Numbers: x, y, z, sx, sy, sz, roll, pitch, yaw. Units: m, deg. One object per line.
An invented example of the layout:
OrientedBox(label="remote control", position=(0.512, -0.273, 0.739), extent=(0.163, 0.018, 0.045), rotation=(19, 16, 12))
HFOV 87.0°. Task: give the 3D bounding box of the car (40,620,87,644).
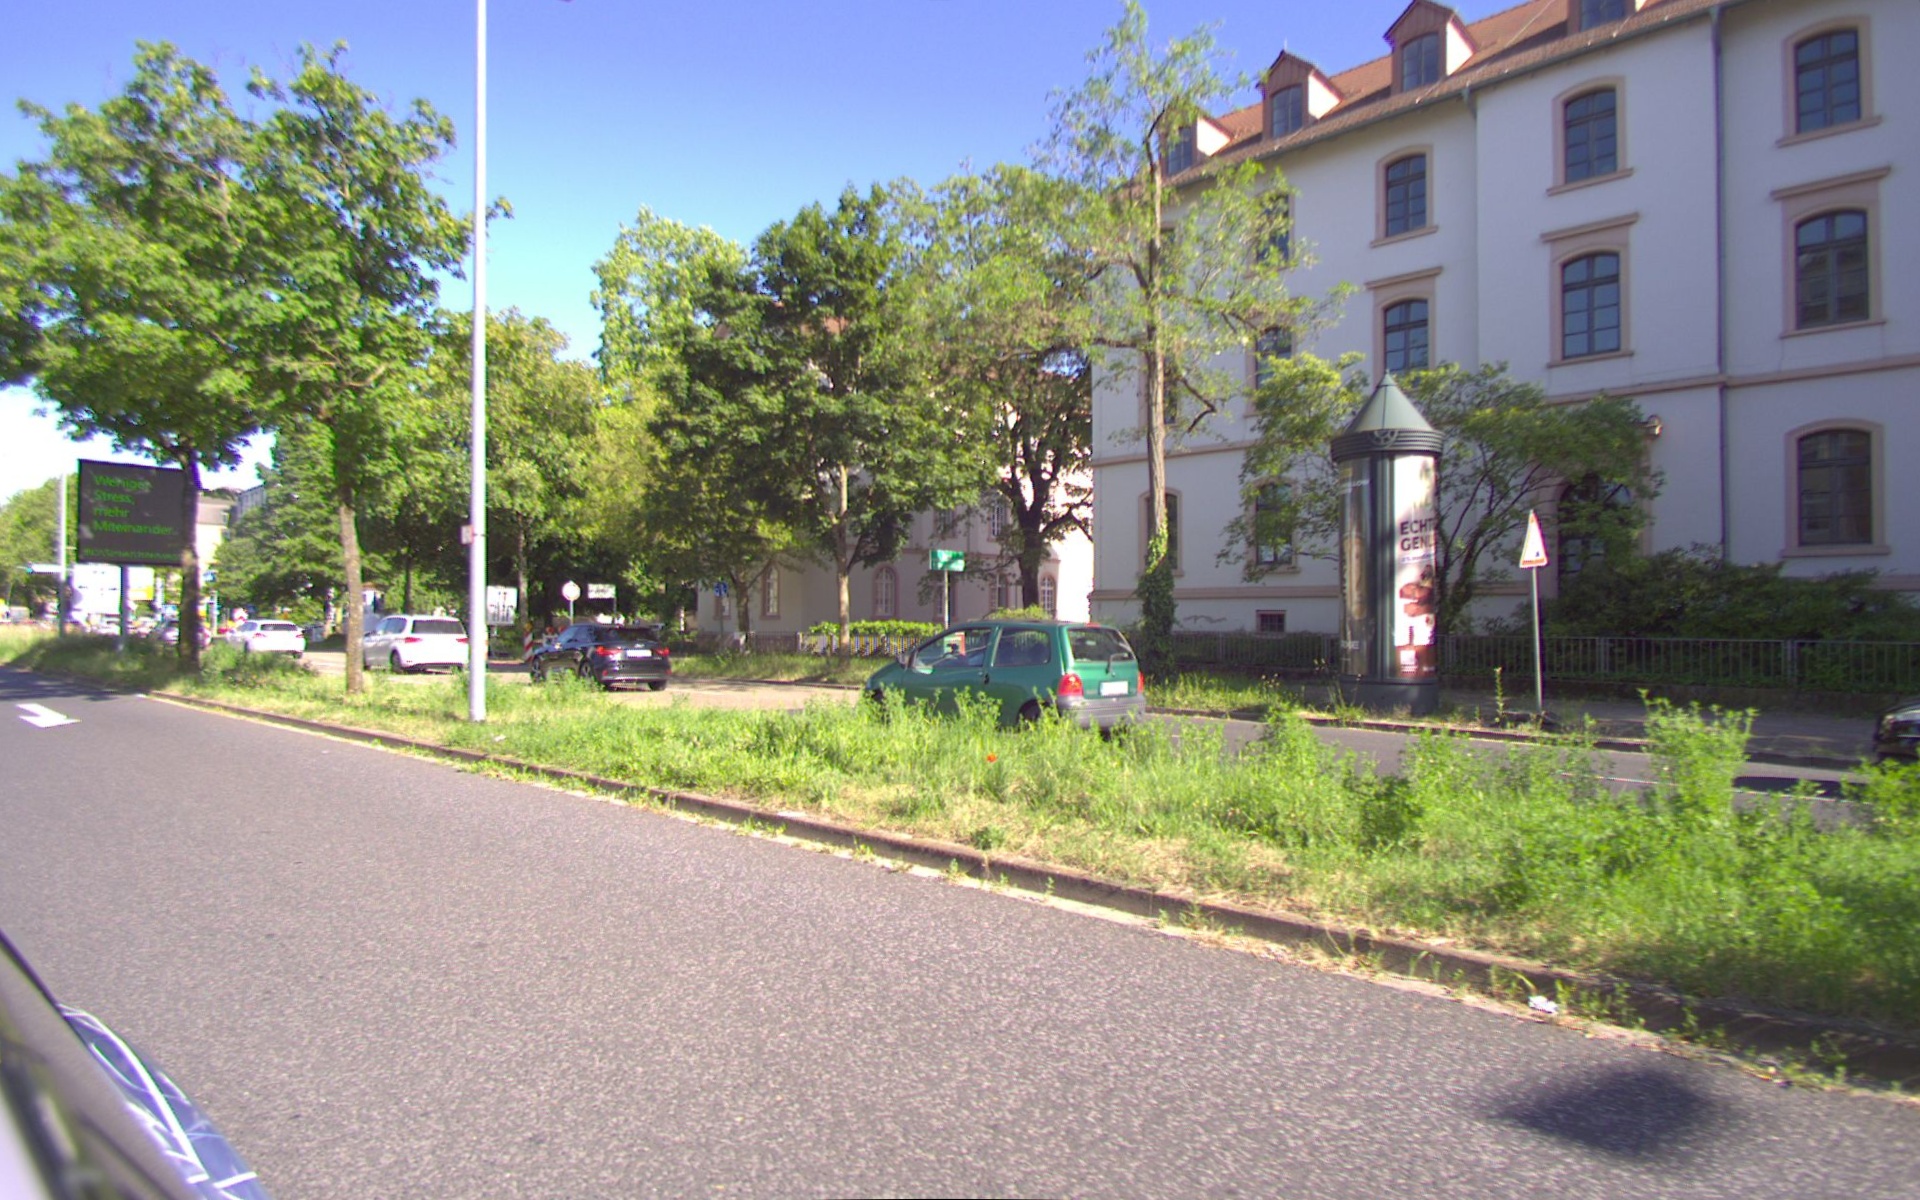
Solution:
OrientedBox(label="car", position=(-60.557, 2.115, 68.319), extent=(4.441, 1.530, 1.777), rotation=(-1, -1, 40))

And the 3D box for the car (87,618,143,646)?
OrientedBox(label="car", position=(-49.041, 1.844, 58.725), extent=(4.255, 1.530, 1.777), rotation=(-1, -1, 40))

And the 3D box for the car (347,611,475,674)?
OrientedBox(label="car", position=(-15.508, 1.170, 28.472), extent=(4.538, 1.638, 1.879), rotation=(-1, -3, 44))

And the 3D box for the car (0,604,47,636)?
OrientedBox(label="car", position=(-55.949, 1.159, 60.368), extent=(4.322, 1.630, 1.735), rotation=(3, 2, 41))

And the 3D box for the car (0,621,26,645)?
OrientedBox(label="car", position=(-61.186, 2.086, 64.627), extent=(4.202, 1.530, 1.777), rotation=(-1, -1, 40))

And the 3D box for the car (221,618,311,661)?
OrientedBox(label="car", position=(-26.566, 1.479, 38.665), extent=(4.665, 1.530, 1.819), rotation=(-1, -2, 43))

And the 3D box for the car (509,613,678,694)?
OrientedBox(label="car", position=(-7.921, 1.089, 21.702), extent=(4.088, 1.530, 1.775), rotation=(0, -2, 44))

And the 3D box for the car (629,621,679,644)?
OrientedBox(label="car", position=(-24.486, 2.573, 80.892), extent=(4.684, 1.503, 1.625), rotation=(3, 2, 41))

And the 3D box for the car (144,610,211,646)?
OrientedBox(label="car", position=(-37.383, 1.289, 48.329), extent=(4.257, 1.530, 1.777), rotation=(1, 1, 41))

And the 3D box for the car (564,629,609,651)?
OrientedBox(label="car", position=(-24.317, 2.576, 65.834), extent=(1.743, 1.333, 3.507), rotation=(1, -2, -39))

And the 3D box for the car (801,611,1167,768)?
OrientedBox(label="car", position=(0.143, 0.916, 11.882), extent=(4.255, 1.530, 1.621), rotation=(-1, -2, 40))

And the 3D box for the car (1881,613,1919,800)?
OrientedBox(label="car", position=(9.982, 0.873, 7.609), extent=(1.775, 1.530, 4.426), rotation=(0, -1, -44))
